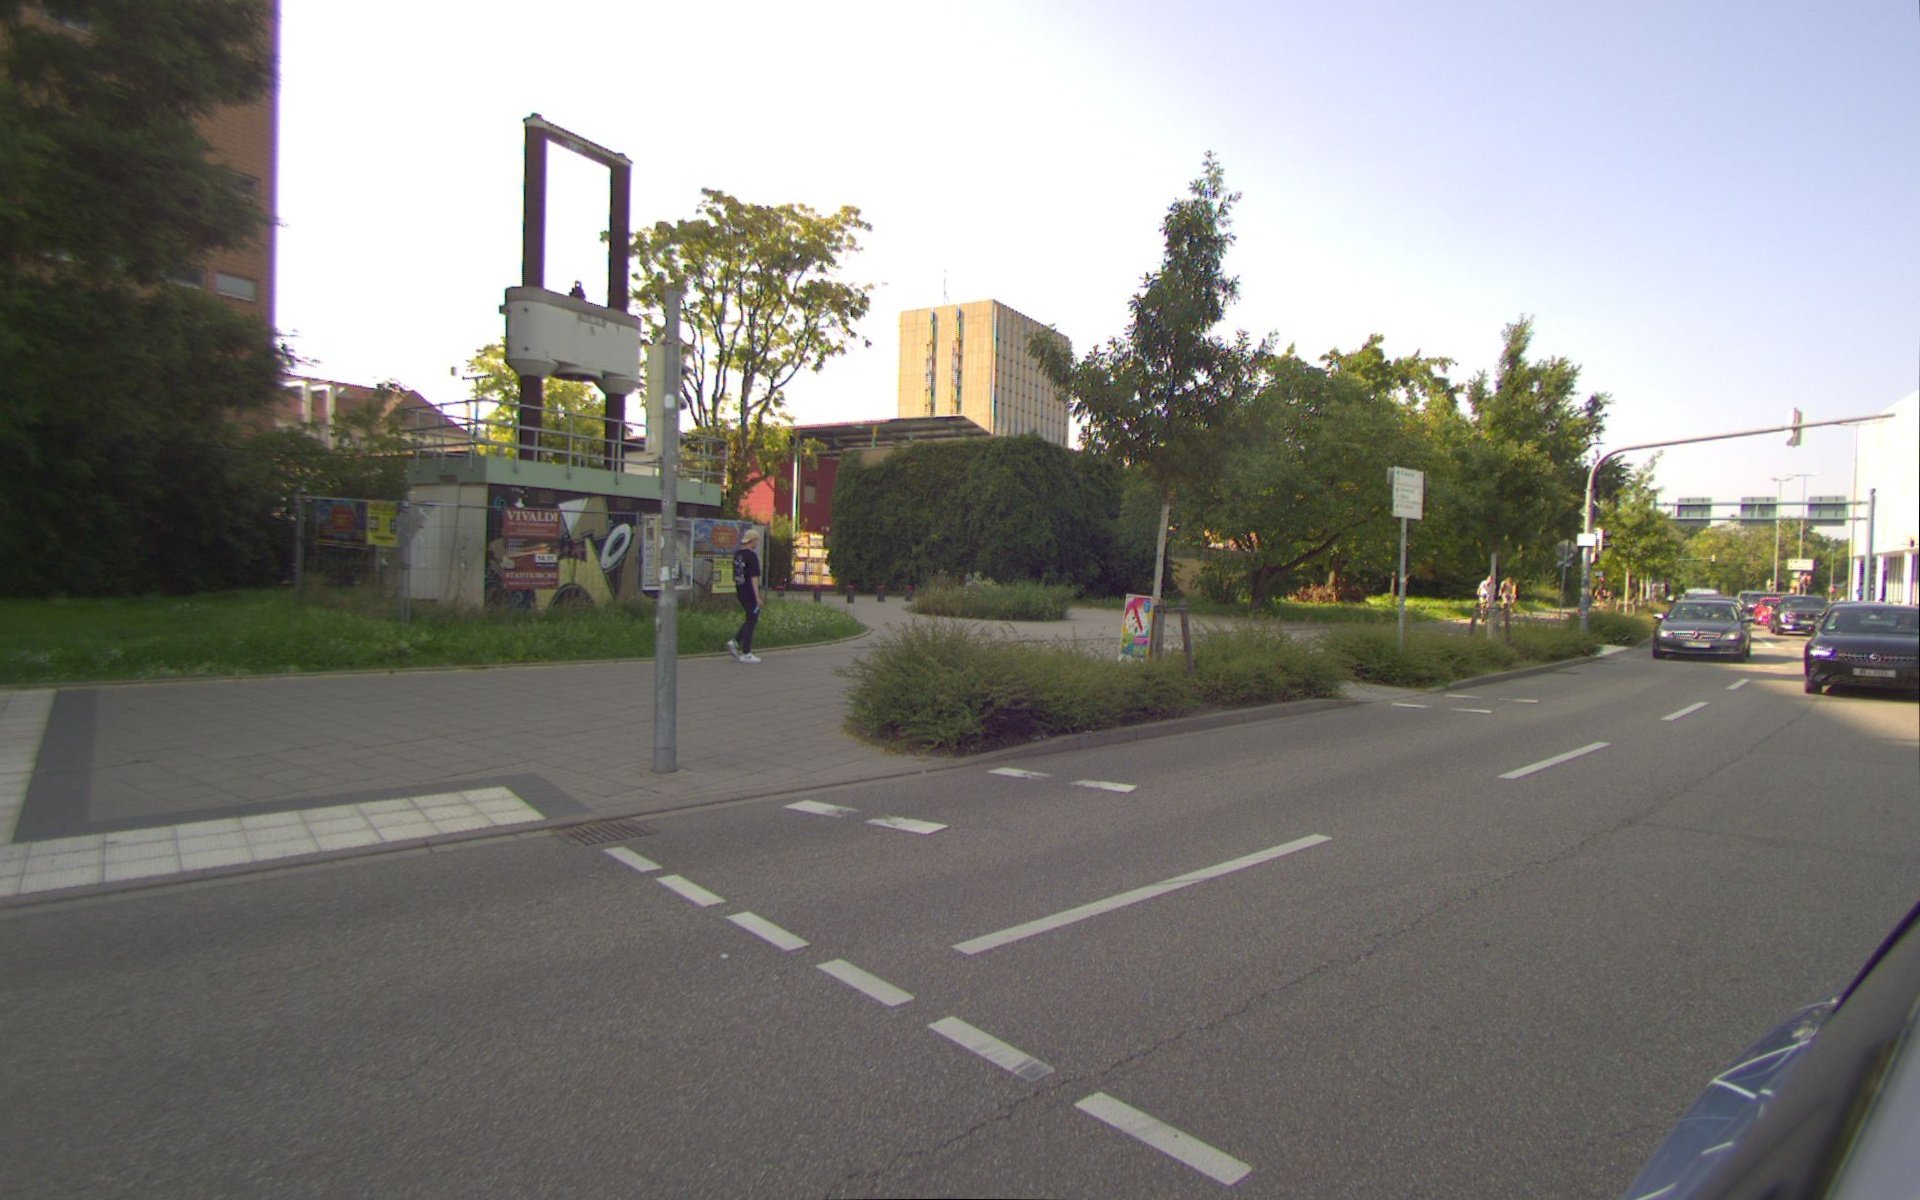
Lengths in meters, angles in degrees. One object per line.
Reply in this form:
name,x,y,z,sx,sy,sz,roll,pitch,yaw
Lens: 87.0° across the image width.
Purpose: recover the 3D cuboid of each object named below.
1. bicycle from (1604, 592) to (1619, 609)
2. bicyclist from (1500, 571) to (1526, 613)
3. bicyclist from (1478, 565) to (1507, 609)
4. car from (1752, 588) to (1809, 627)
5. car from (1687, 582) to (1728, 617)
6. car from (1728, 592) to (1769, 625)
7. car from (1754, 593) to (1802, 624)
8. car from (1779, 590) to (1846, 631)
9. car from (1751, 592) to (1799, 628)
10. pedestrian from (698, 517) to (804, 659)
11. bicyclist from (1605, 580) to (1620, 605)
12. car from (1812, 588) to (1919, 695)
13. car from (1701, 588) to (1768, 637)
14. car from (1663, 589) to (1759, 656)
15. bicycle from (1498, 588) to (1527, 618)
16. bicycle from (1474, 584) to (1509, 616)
bicycle,44.528,0.000,69.120,0.769,1.131,2.275,2,1,35
bicyclist,21.855,-0.322,40.003,0.769,1.613,0.912,2,1,35
bicyclist,20.063,-0.488,38.136,0.769,1.612,0.911,3,2,38
car,38.698,0.303,47.822,1.773,1.625,4.365,3,3,36
car,44.259,-0.061,59.978,1.677,1.965,4.319,3,2,34
car,51.342,0.514,65.933,1.676,1.965,4.025,3,2,33
car,43.209,0.402,53.510,1.678,1.510,4.315,3,2,36
car,34.094,0.367,40.561,1.678,1.510,4.315,3,2,36
car,46.969,0.537,58.357,1.676,1.965,4.025,3,2,33
pedestrian,-2.830,-0.176,13.676,0.986,1.804,0.959,0,4,-43
bicyclist,44.604,-0.537,69.221,0.769,1.697,0.912,2,1,36
car,15.123,0.598,16.555,1.680,1.510,4.310,3,2,39
car,26.539,0.373,34.796,1.678,1.510,4.612,3,2,36
car,18.461,0.482,24.794,1.680,1.460,4.310,1,1,39
bicycle,21.864,0.104,40.030,0.769,1.131,2.275,2,1,35
bicycle,20.077,-0.018,38.189,0.769,1.131,2.272,3,2,37
